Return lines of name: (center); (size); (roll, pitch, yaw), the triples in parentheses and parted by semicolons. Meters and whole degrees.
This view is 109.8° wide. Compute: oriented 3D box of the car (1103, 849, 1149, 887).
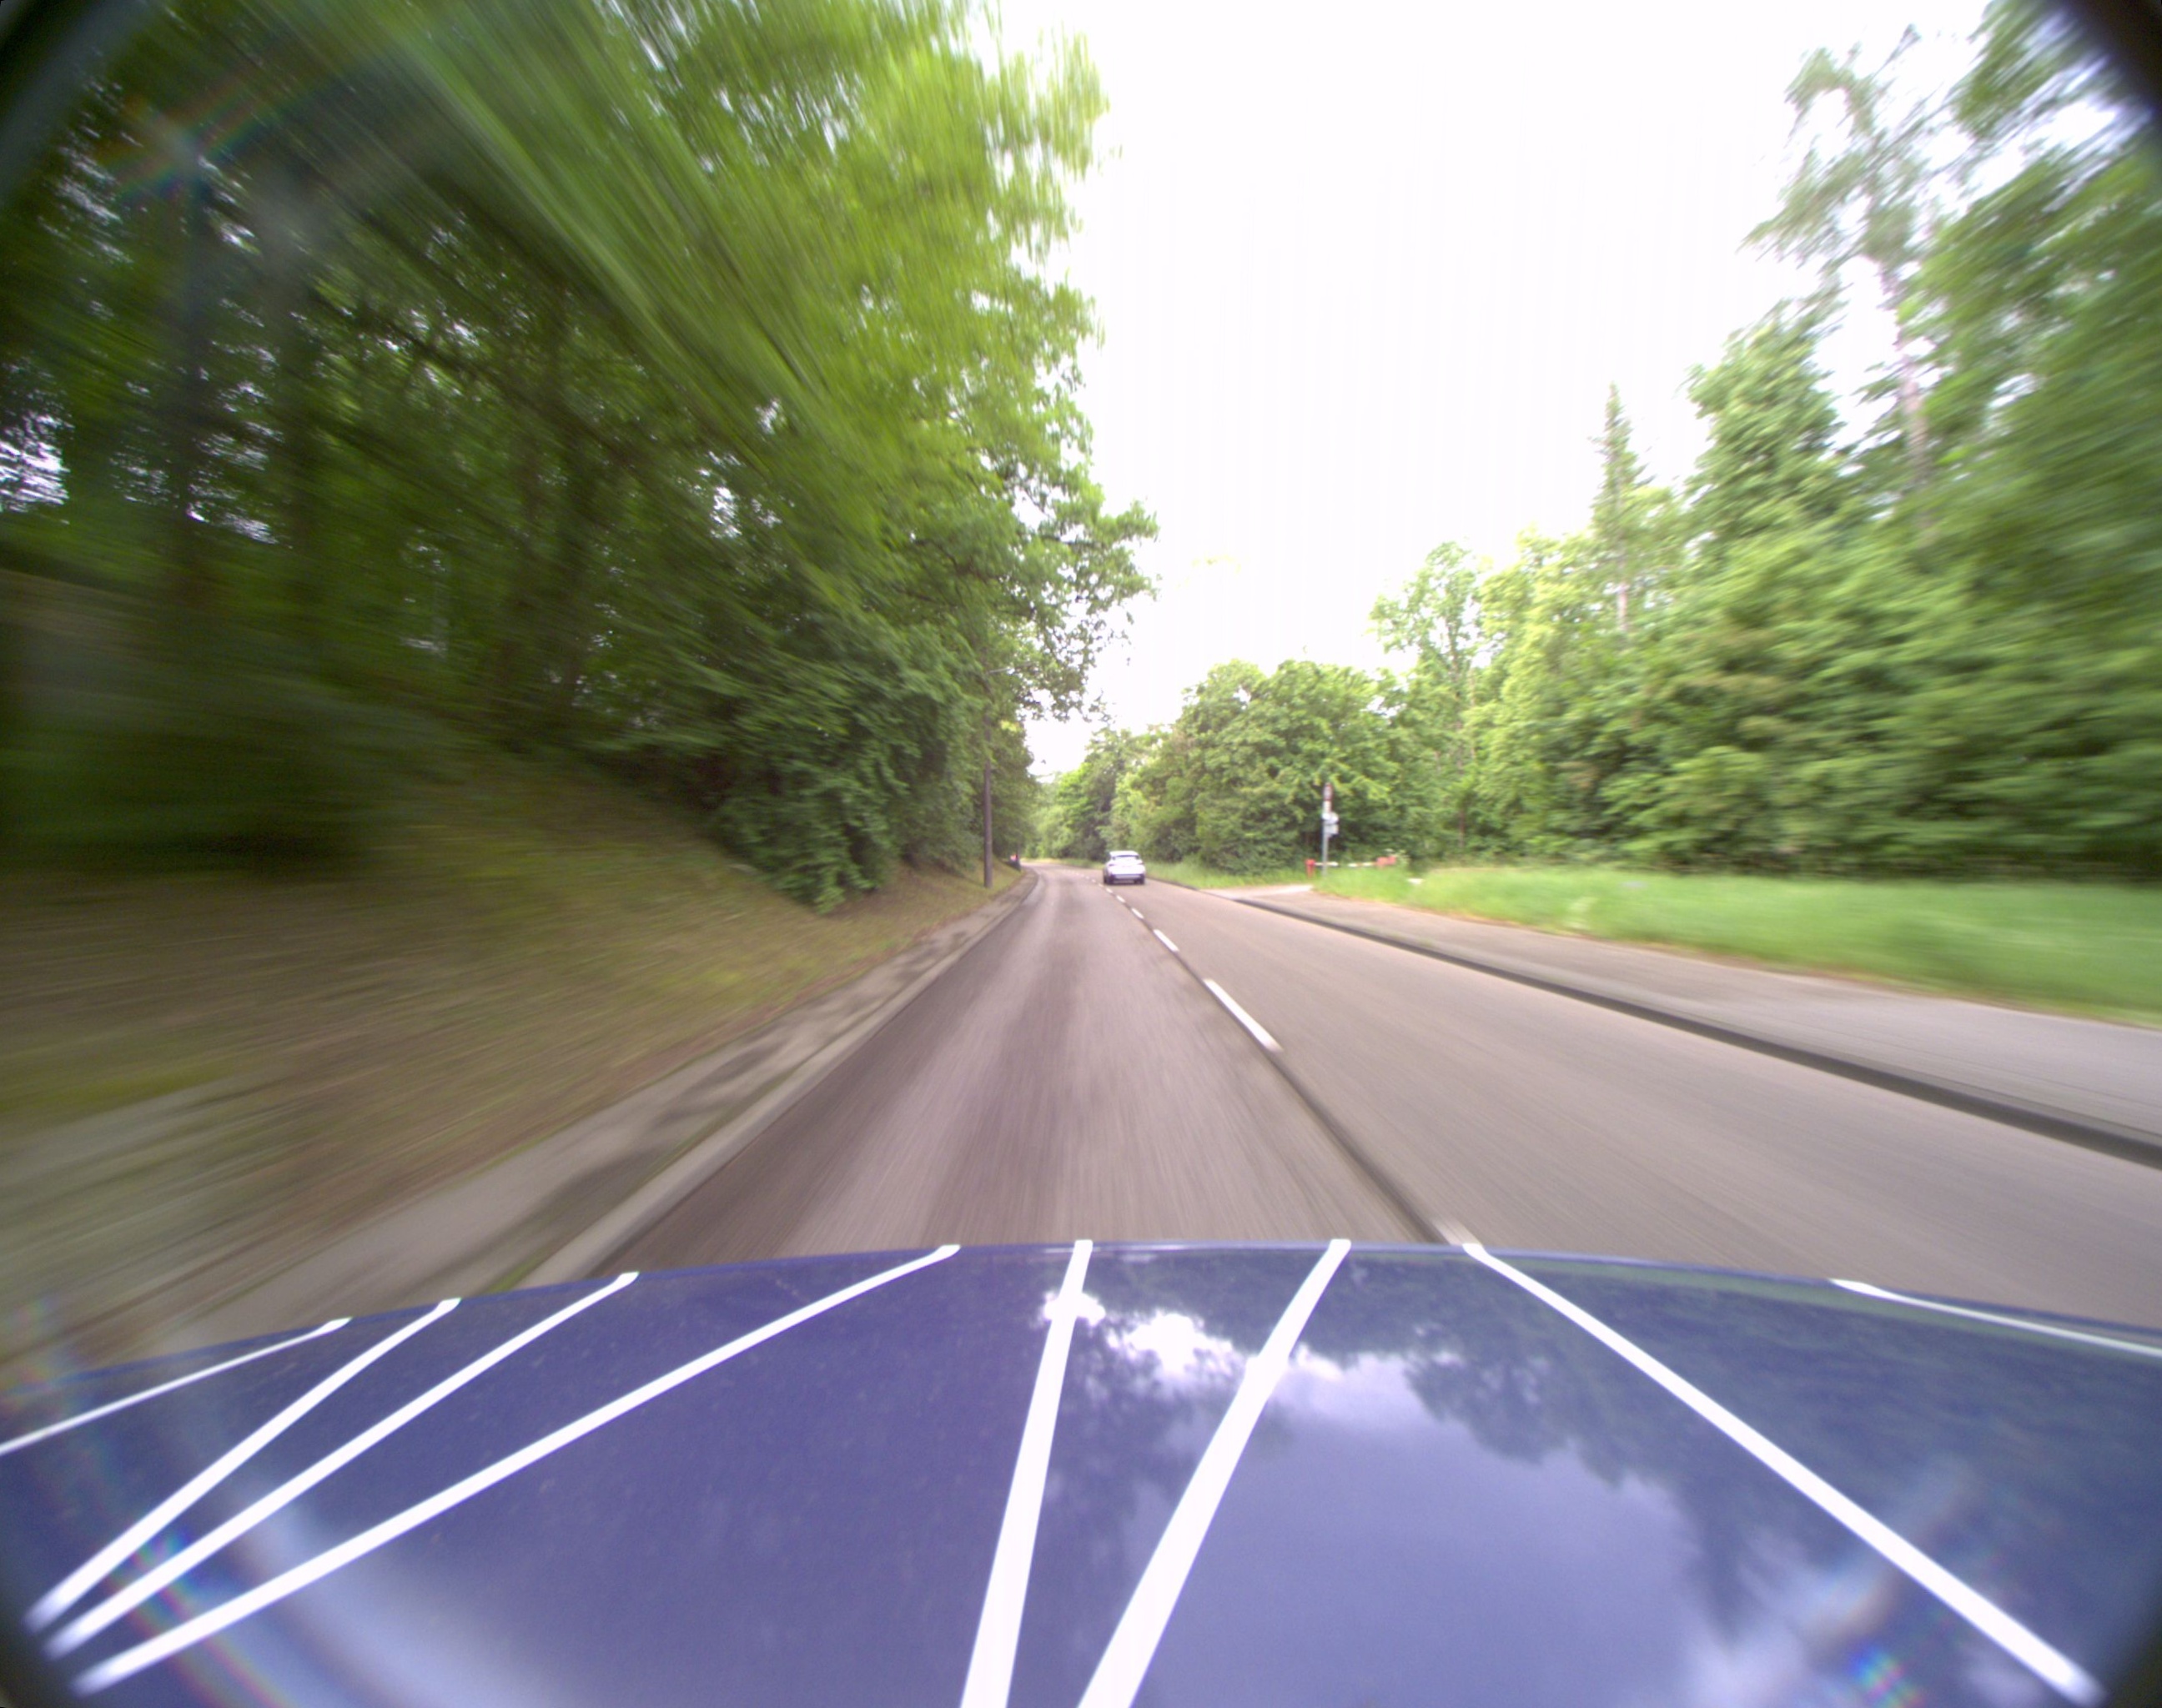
car: (2.223, 0.659, 38.683); (1.998, 1.743, 4.781); (-1, 1, 0)

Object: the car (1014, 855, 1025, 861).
car: (-15.151, 1.002, 187.091); (2.001, 1.429, 3.995); (-2, 1, -12)
